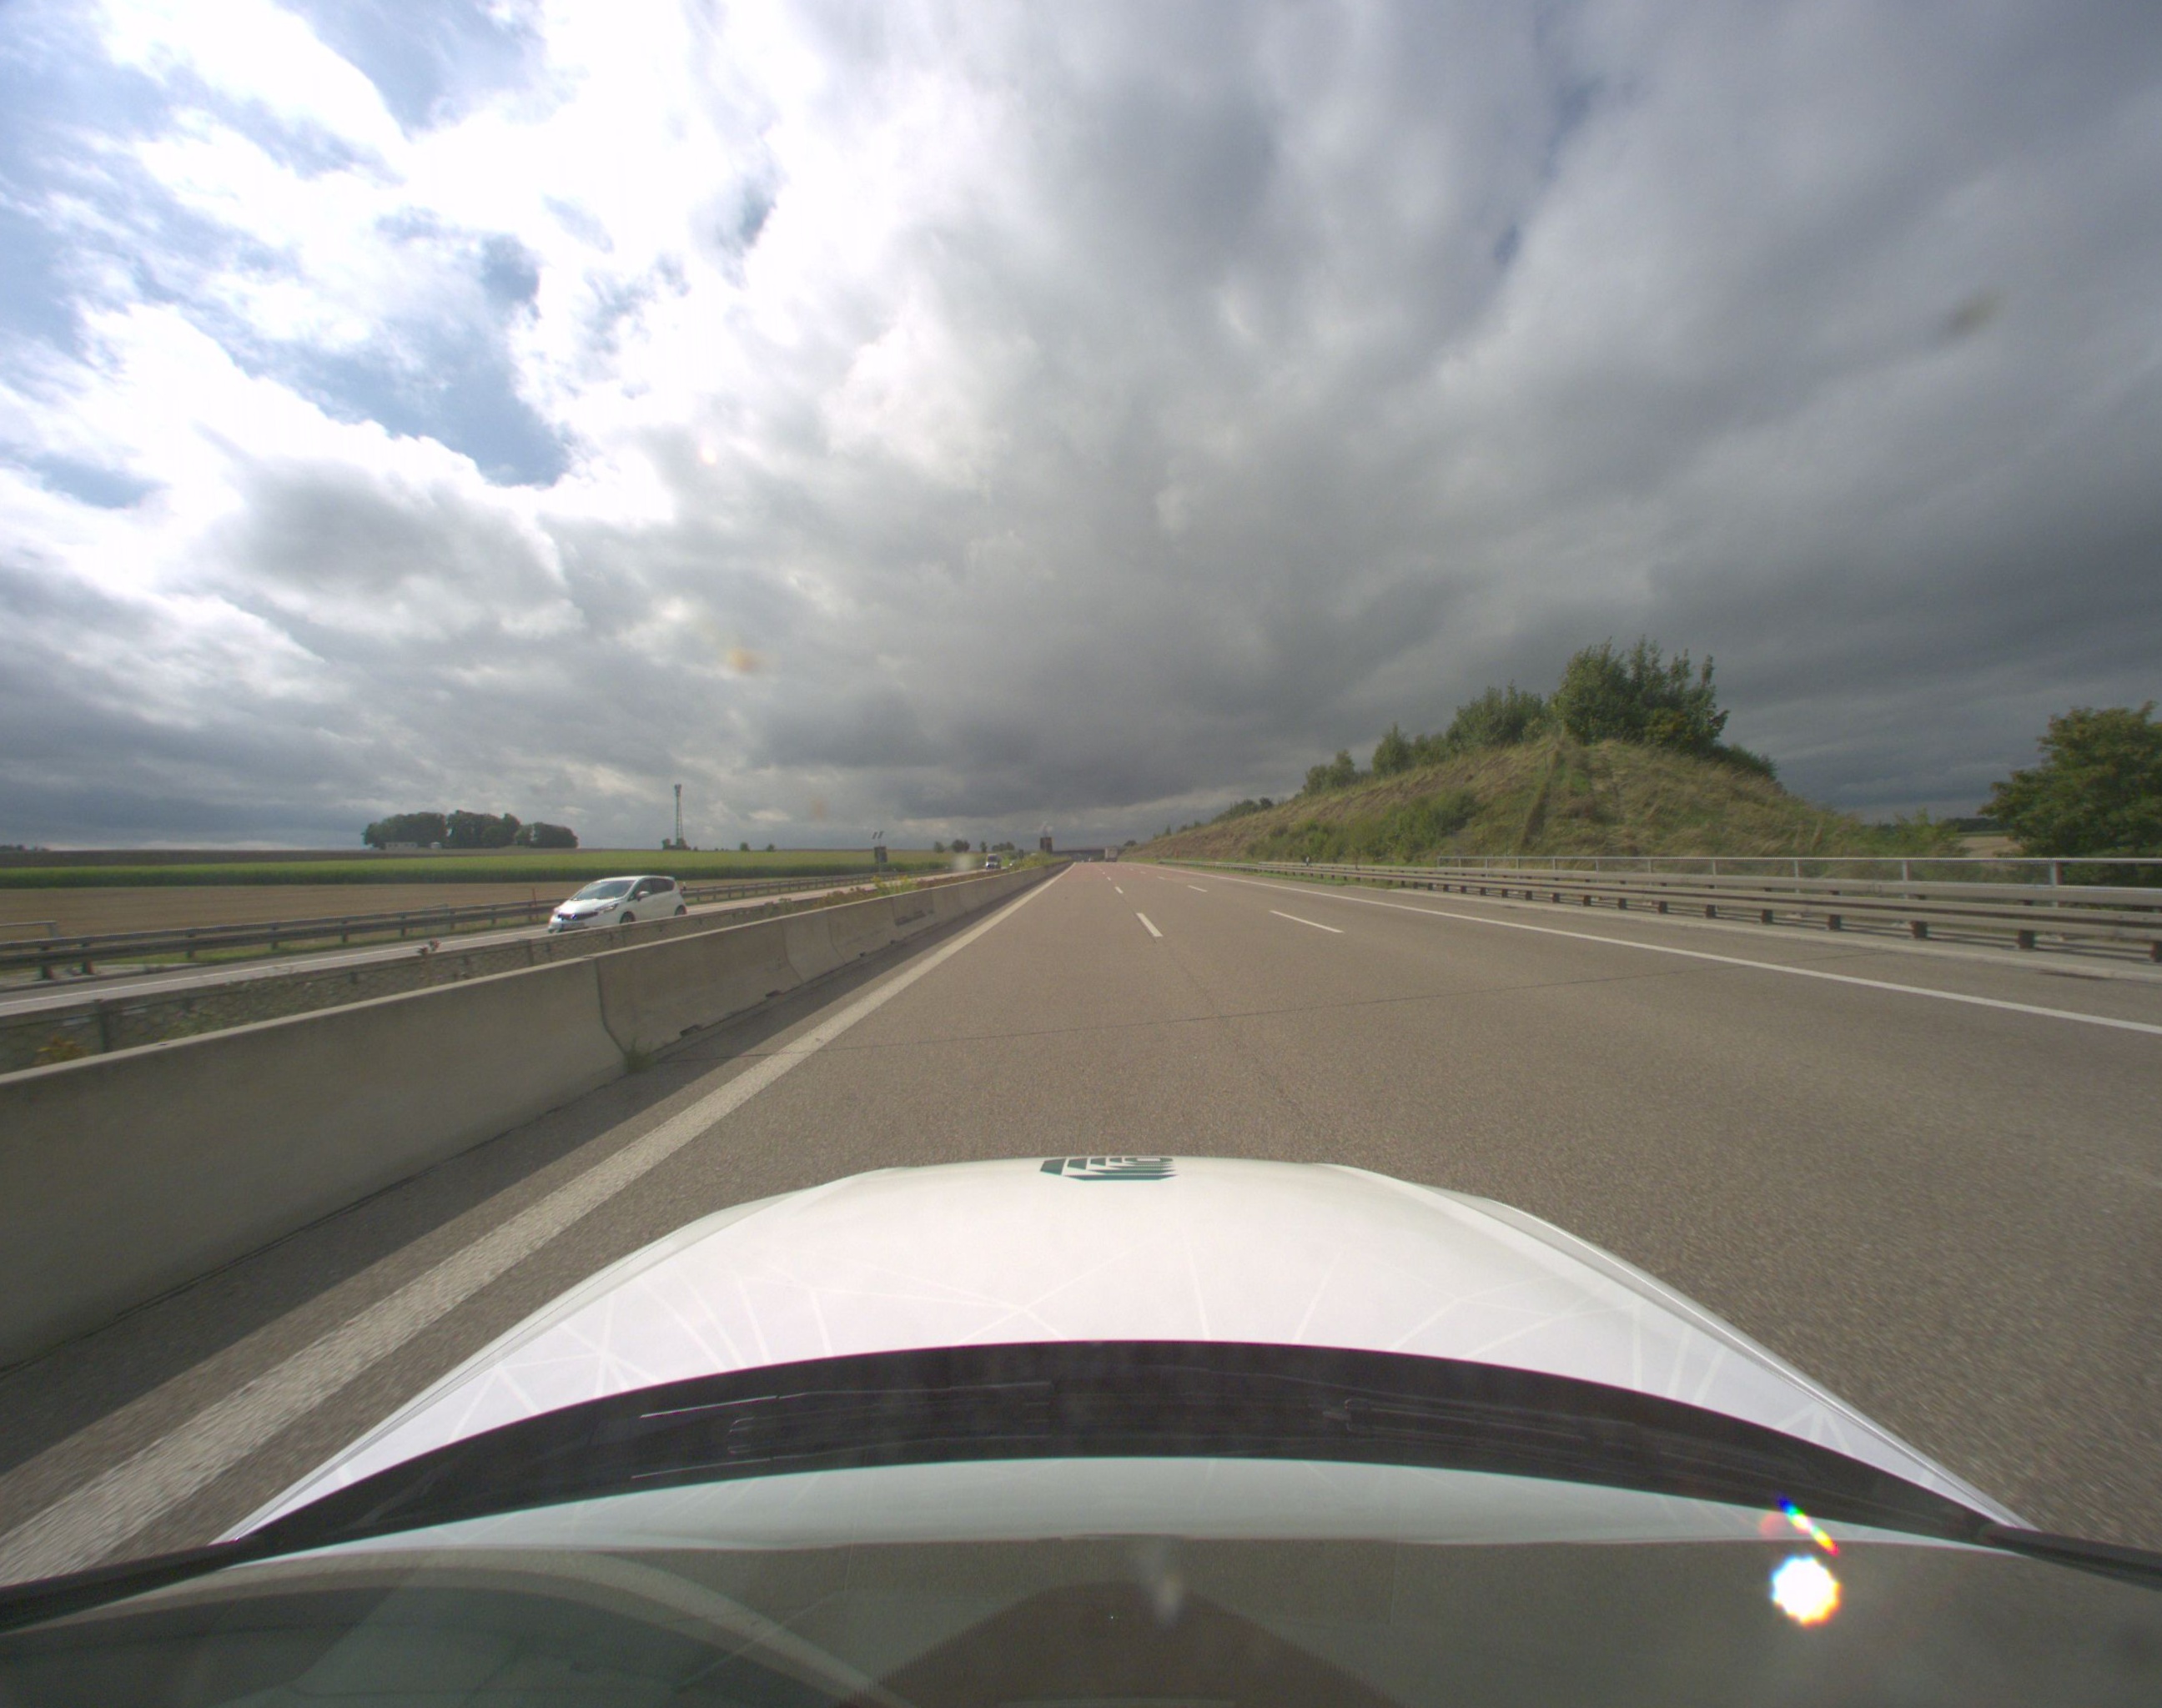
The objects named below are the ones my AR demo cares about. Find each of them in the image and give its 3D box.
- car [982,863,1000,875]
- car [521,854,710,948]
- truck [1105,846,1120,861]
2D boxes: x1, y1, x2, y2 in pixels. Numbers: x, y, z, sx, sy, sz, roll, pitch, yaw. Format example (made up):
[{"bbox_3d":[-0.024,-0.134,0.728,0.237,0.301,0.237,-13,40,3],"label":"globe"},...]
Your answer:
[{"bbox_3d":[-14.846,2.453,134.792,2.049,1.913,5.705,-3,0,2],"label":"car"},{"bbox_3d":[-11.863,1.086,21.231,1.986,2.070,4.714,-3,0,2],"label":"car"},{"bbox_3d":[8.325,-0.169,215.732,3.604,3.945,11.177,0,0,1],"label":"truck"}]
